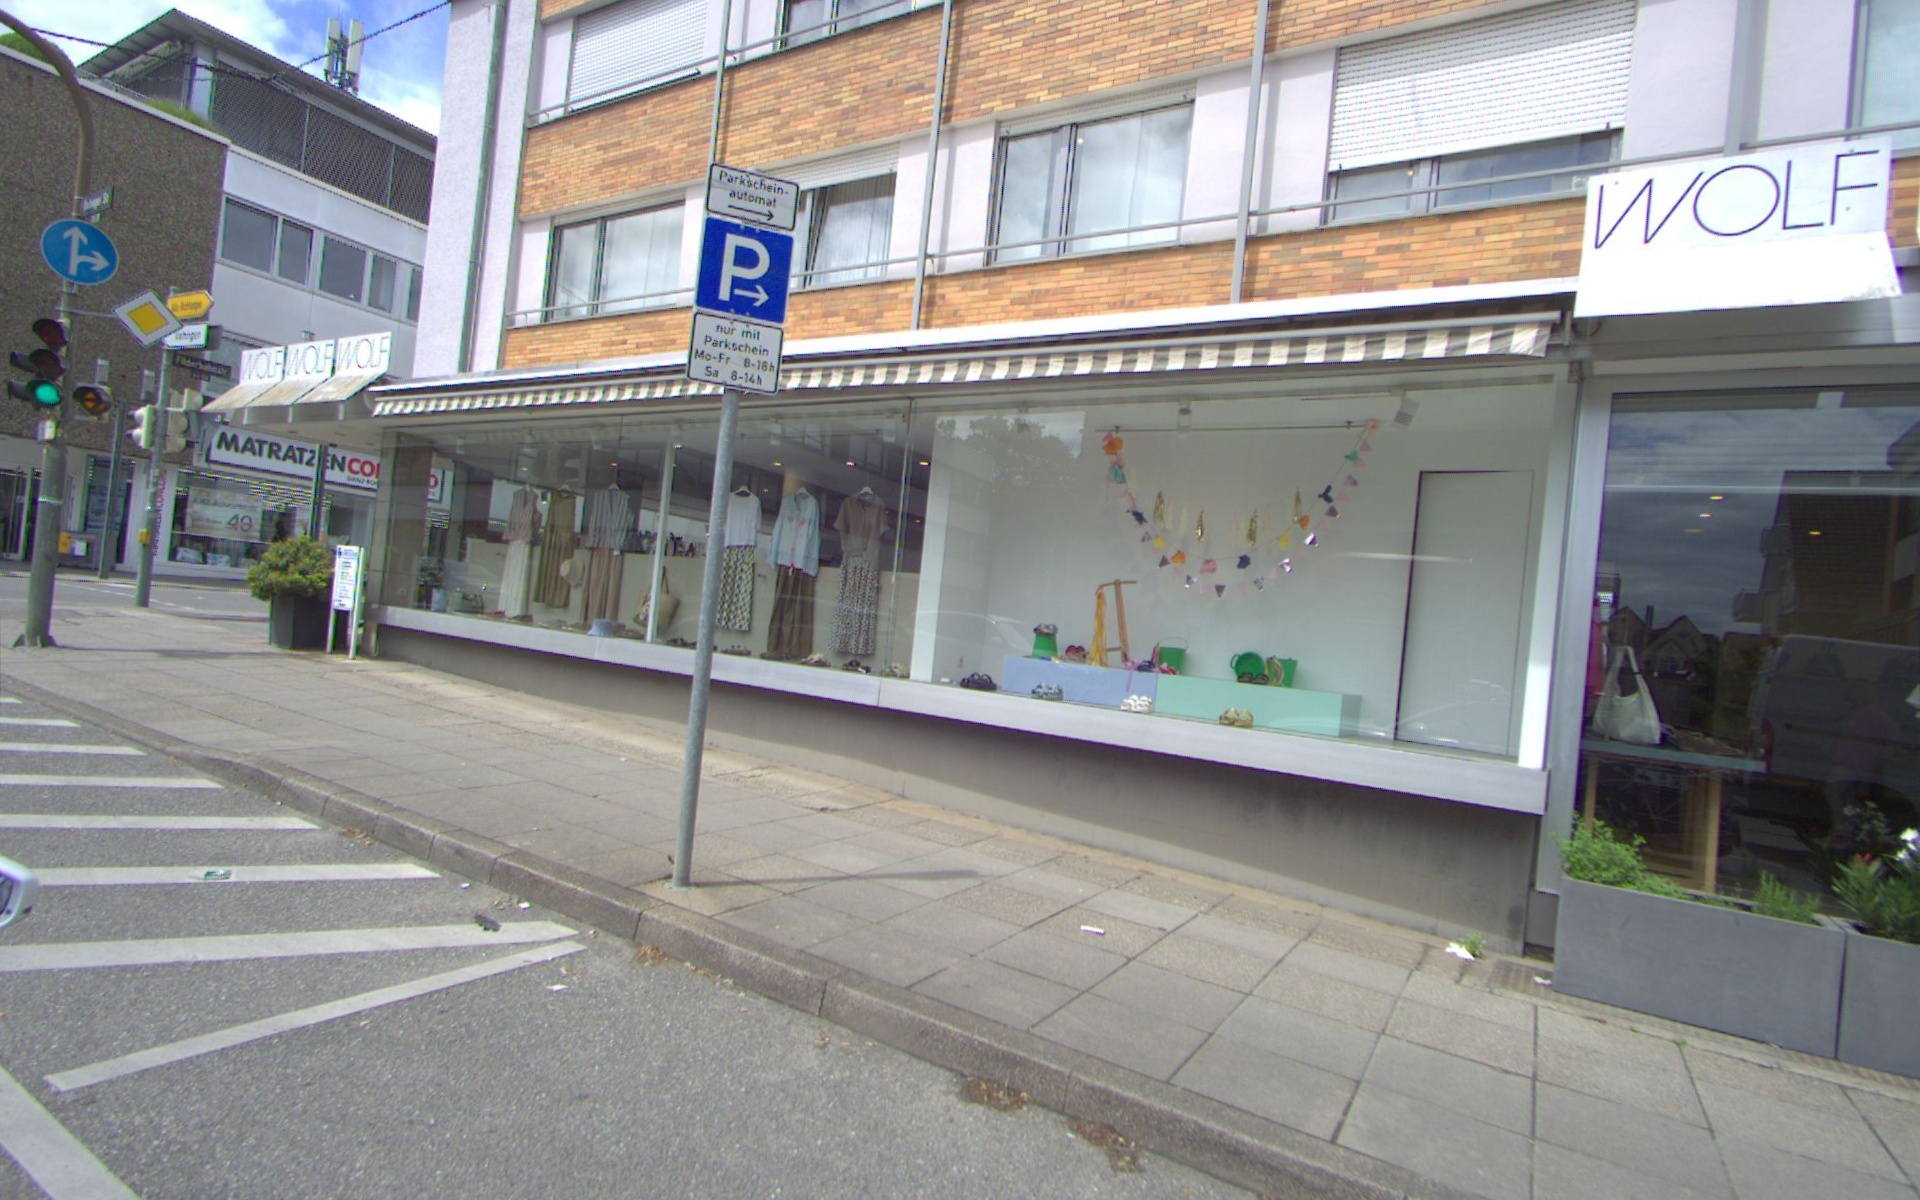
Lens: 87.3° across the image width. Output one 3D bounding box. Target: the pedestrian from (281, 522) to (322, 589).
[{"bbox_3d":[-17.755,-1.196,27.145,0.608,1.728,0.580,5,2,0],"label":"pedestrian"}]
